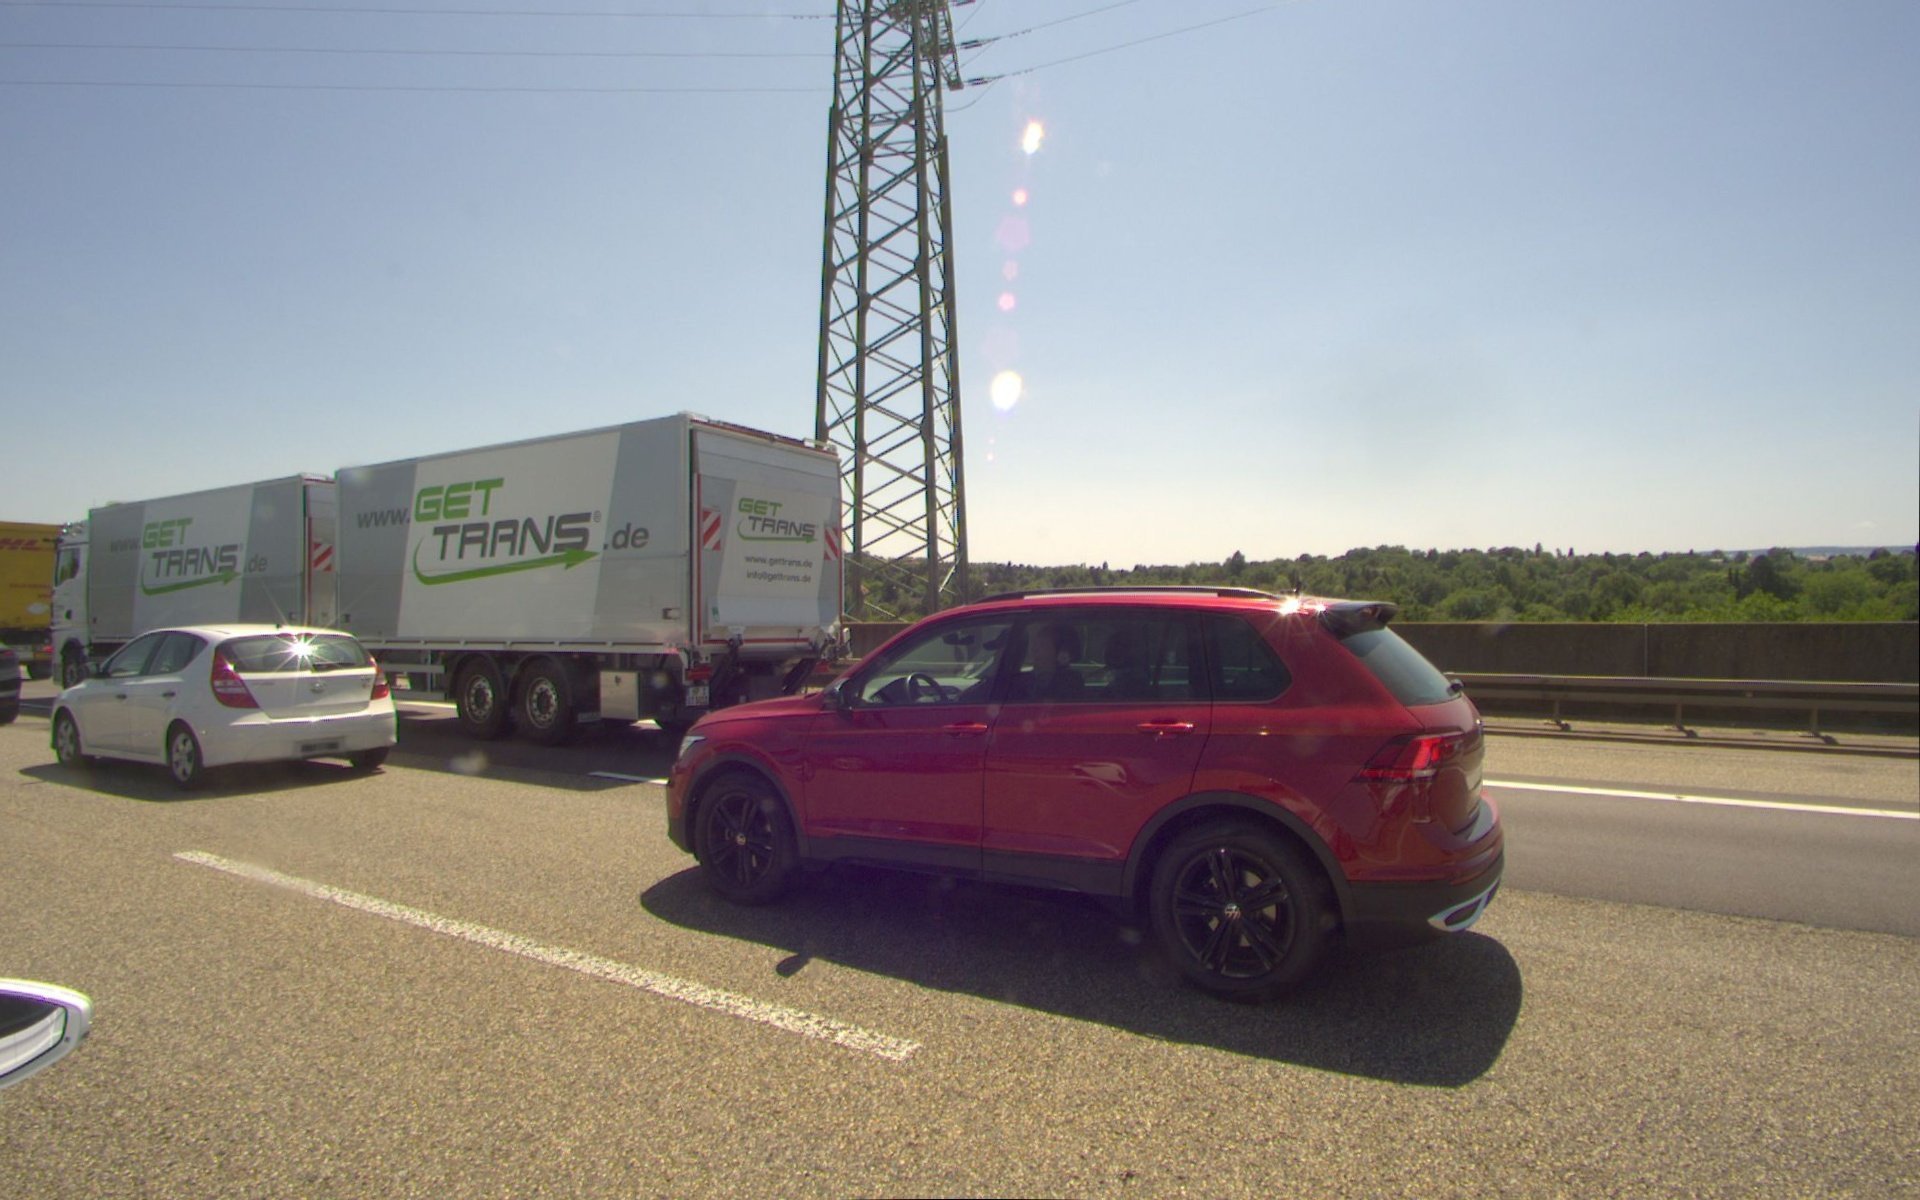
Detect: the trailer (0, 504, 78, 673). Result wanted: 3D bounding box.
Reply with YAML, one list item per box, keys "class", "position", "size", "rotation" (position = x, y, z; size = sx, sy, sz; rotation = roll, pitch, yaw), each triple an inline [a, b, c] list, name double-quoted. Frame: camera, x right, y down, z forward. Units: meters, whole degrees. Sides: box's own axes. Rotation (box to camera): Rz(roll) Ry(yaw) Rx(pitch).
- class: "trailer"
  position: [-28.100, -0.209, 27.942]
  size: [8.883, 4.293, 2.860]
  rotation: [-1, -1, 32]

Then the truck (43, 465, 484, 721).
- class: "truck"
  position: [-13.248, -0.037, 18.504]
  size: [10.851, 3.696, 2.651]
  rotation: [-1, 0, 32]

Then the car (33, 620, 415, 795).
- class: "car"
  position: [-7.696, 0.949, 10.368]
  size: [4.231, 1.474, 1.785]
  rotation: [-1, -1, 32]

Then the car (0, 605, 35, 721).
- class: "car"
  position: [-15.885, 0.913, 15.015]
  size: [4.231, 1.666, 1.958]
  rotation: [-1, -1, 32]

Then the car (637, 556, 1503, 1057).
- class: "car"
  position: [0.424, 0.733, 5.233]
  size: [4.163, 1.683, 1.772]
  rotation: [-1, -1, 32]

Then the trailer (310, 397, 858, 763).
- class: "trailer"
  position: [-5.319, -0.151, 13.490]
  size: [7.899, 3.749, 2.693]
  rotation: [-1, 0, 32]
